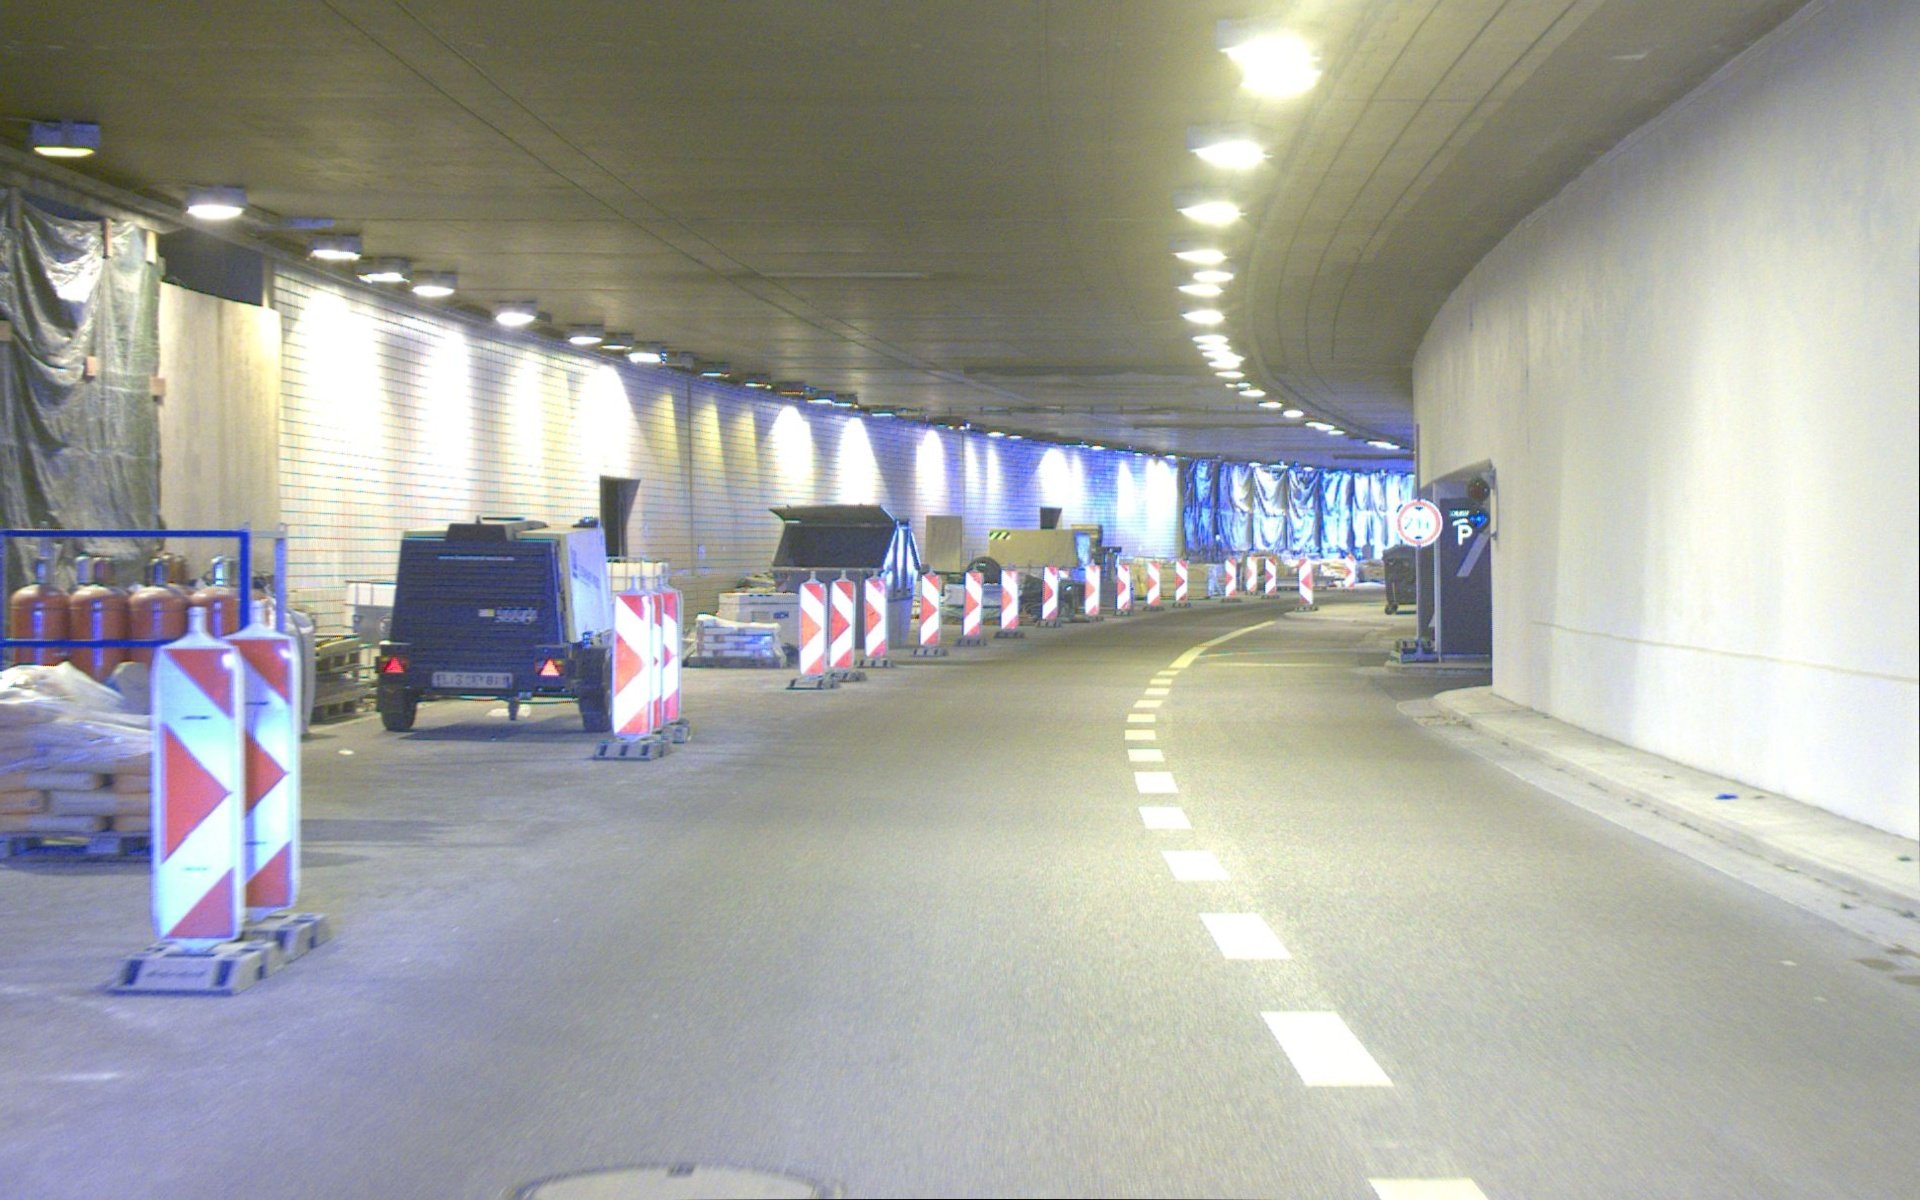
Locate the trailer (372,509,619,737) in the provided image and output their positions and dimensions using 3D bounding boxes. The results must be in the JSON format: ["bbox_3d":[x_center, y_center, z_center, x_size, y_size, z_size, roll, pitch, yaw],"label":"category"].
[{"bbox_3d":[-3.827,0.169,28.704,1.580,1.792,2.939,1,0,2],"label":"trailer"}]

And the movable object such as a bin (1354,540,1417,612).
[{"bbox_3d":[9.030,-0.514,72.941,1.195,1.455,1.604,-2,0,10],"label":"movable object such as a bin"}]
